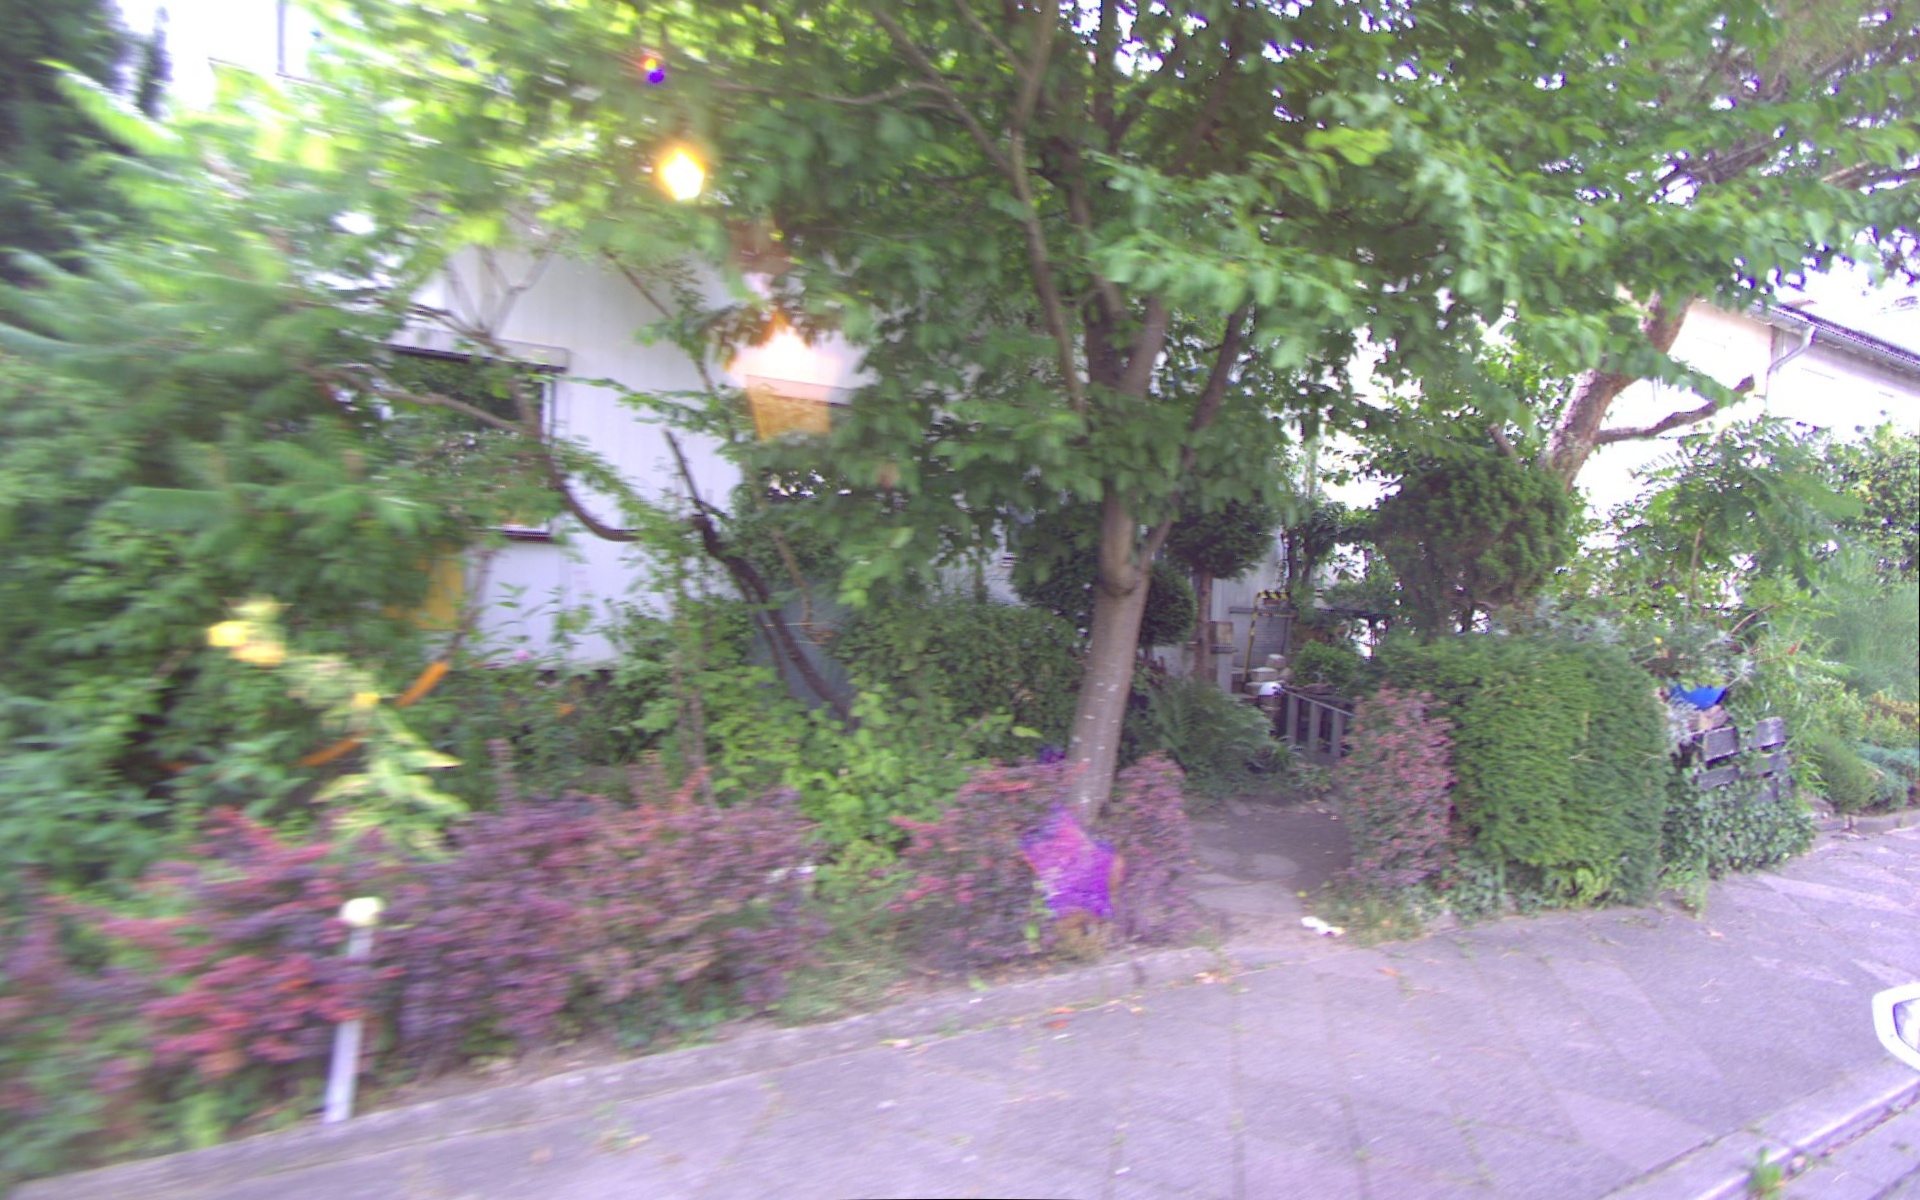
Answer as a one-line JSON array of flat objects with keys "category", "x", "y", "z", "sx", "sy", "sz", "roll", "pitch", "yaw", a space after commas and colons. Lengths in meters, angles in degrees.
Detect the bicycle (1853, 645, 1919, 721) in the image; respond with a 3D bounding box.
[{"category": "bicycle", "x": 12.896, "y": 1.122, "z": 13.516, "sx": 0.518, "sy": 0.905, "sz": 1.703, "roll": 2, "pitch": 2, "yaw": 12}]
